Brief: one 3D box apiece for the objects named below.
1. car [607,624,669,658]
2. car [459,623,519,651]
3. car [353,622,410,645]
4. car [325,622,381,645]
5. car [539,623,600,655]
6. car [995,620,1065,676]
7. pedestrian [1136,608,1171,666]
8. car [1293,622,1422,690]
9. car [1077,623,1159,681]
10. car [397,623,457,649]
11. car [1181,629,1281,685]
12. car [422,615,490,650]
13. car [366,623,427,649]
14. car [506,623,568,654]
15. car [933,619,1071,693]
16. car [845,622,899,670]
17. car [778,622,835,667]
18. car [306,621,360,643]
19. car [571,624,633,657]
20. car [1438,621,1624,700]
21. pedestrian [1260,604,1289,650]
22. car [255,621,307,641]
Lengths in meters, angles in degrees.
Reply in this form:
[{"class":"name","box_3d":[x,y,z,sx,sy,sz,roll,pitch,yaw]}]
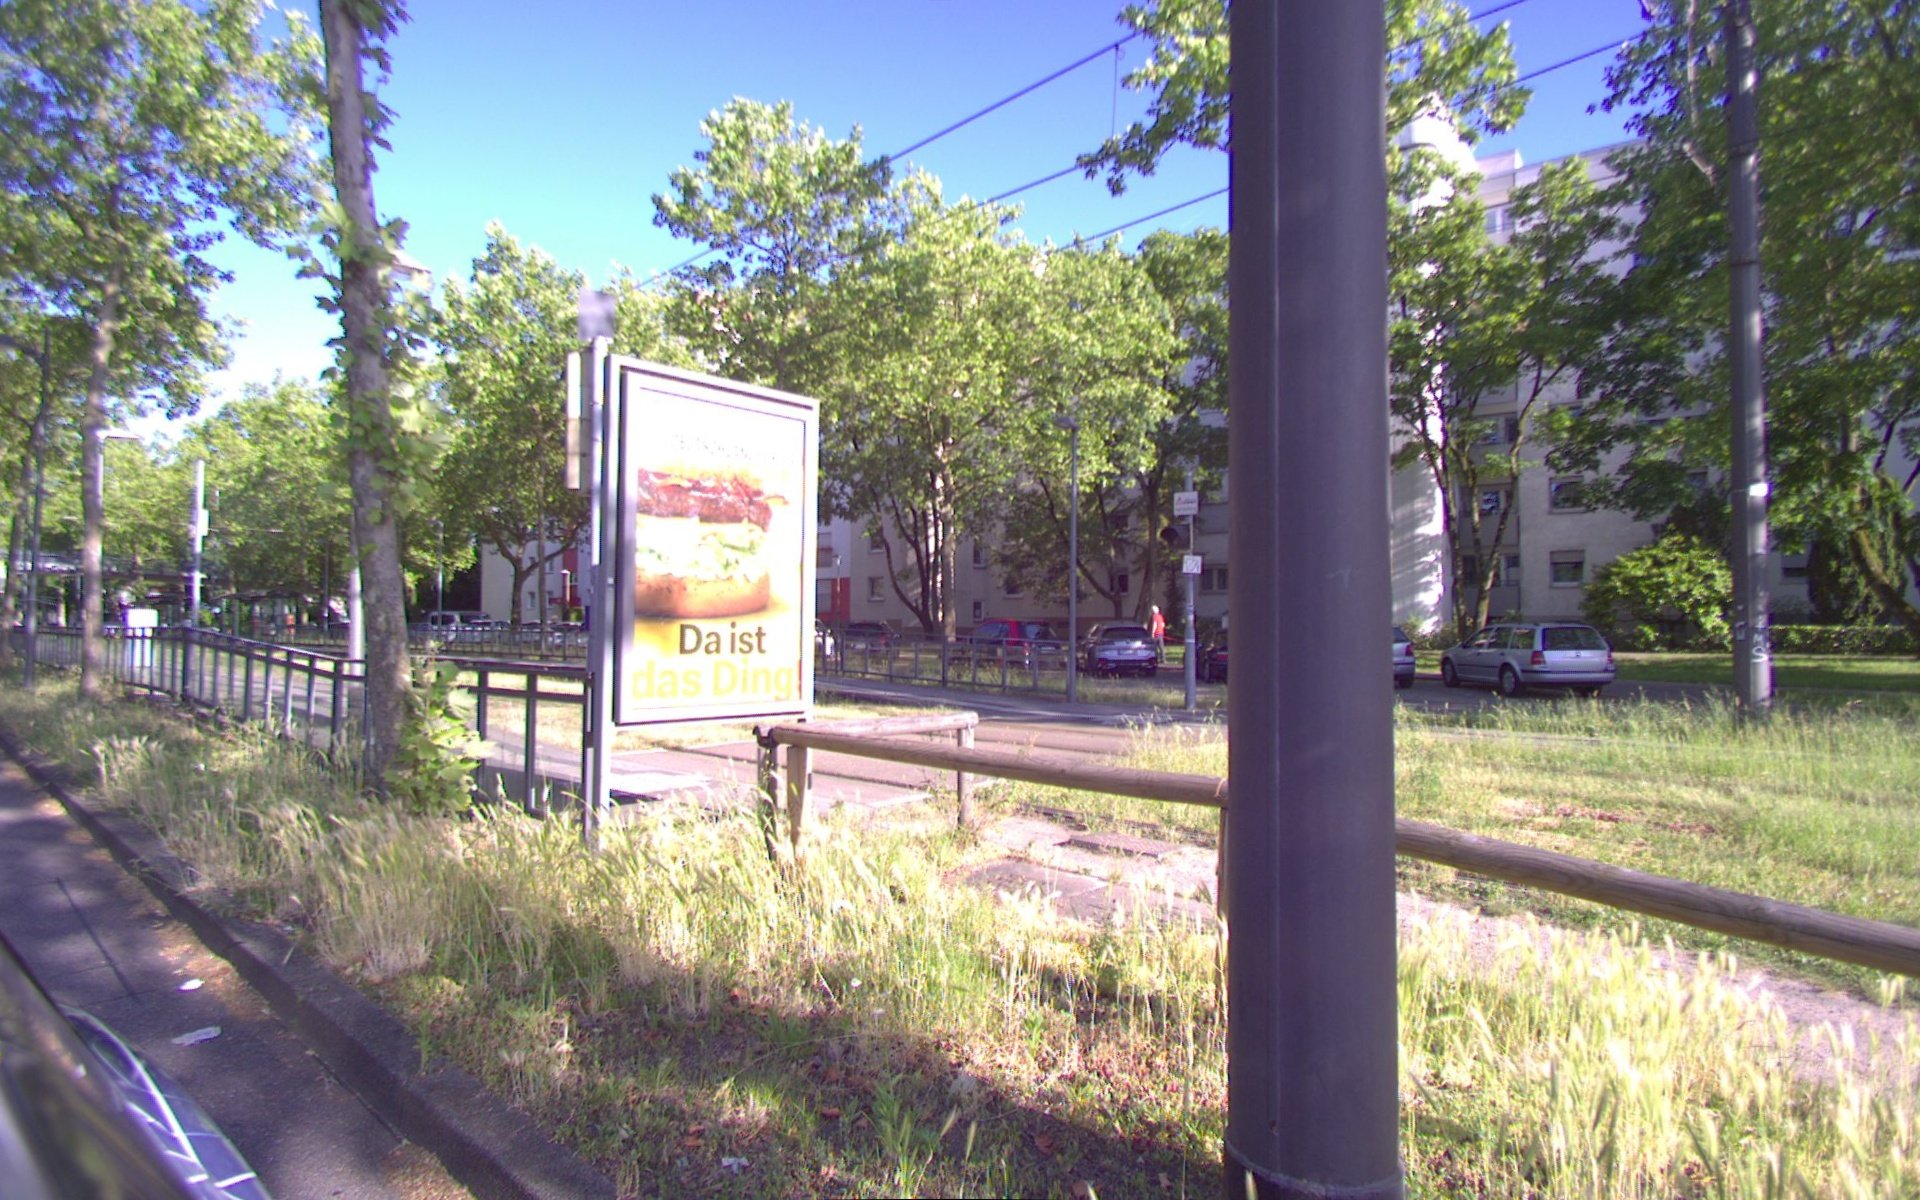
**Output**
[{"class":"car","box_3d":[-14.060,1.765,44.340,1.633,1.366,3.805,-1,-1,-2]},{"class":"car","box_3d":[-25.868,1.999,55.663,1.633,1.452,3.805,-1,-1,-2]},{"class":"car","box_3d":[-37.883,2.172,66.381,1.633,1.452,3.805,-1,-1,-2]},{"class":"car","box_3d":[-40.836,2.227,68.194,1.633,1.452,3.805,-1,-1,-2]},{"class":"car","box_3d":[-19.043,1.897,49.543,1.633,1.452,3.805,-1,-1,-2]},{"class":"car","box_3d":[1.987,1.354,29.671,1.633,1.522,3.805,-1,-1,-2]},{"class":"pedestrian","box_3d":[5.956,1.116,31.191,0.786,1.745,0.755,-1,0,39]},{"class":"car","box_3d":[9.146,1.238,23.595,1.559,1.413,3.638,-1,-1,0]},{"class":"car","box_3d":[4.221,1.364,27.523,1.633,1.413,3.803,-1,-1,0]},{"class":"car","box_3d":[-31.329,2.083,59.602,1.633,1.452,3.805,-1,-1,-2]},{"class":"car","box_3d":[6.678,1.377,25.281,1.445,1.234,3.815,-1,-1,0]},{"class":"car","box_3d":[-28.450,1.824,57.257,1.814,1.888,4.323,-1,-1,-2]},{"class":"car","box_3d":[-33.692,2.114,60.605,1.633,1.452,3.805,-1,-1,-2]},{"class":"car","box_3d":[-21.334,1.939,51.187,1.633,1.452,3.805,-1,-1,-2]},{"class":"car","box_3d":[0.935,1.235,23.186,2.817,1.569,1.558,-2,-1,44]},{"class":"car","box_3d":[-2.973,1.526,34.653,1.633,1.522,3.805,-1,-1,-2]},{"class":"car","box_3d":[-5.563,1.569,37.022,1.633,1.522,3.805,-1,-1,-2]},{"class":"car","box_3d":[-44.977,2.287,72.683,1.633,1.452,3.805,-1,-1,-2]},{"class":"car","box_3d":[-16.623,1.855,47.162,1.633,1.452,3.805,-1,-1,-2]},{"class":"car","box_3d":[11.477,1.160,20.669,1.559,1.413,3.906,-1,-1,0]},{"class":"pedestrian","box_3d":[11.450,0.969,36.838,0.786,1.635,0.755,-1,0,39]},{"class":"car","box_3d":[-53.049,2.402,79.155,1.633,1.452,3.805,-1,-1,-2]}]
